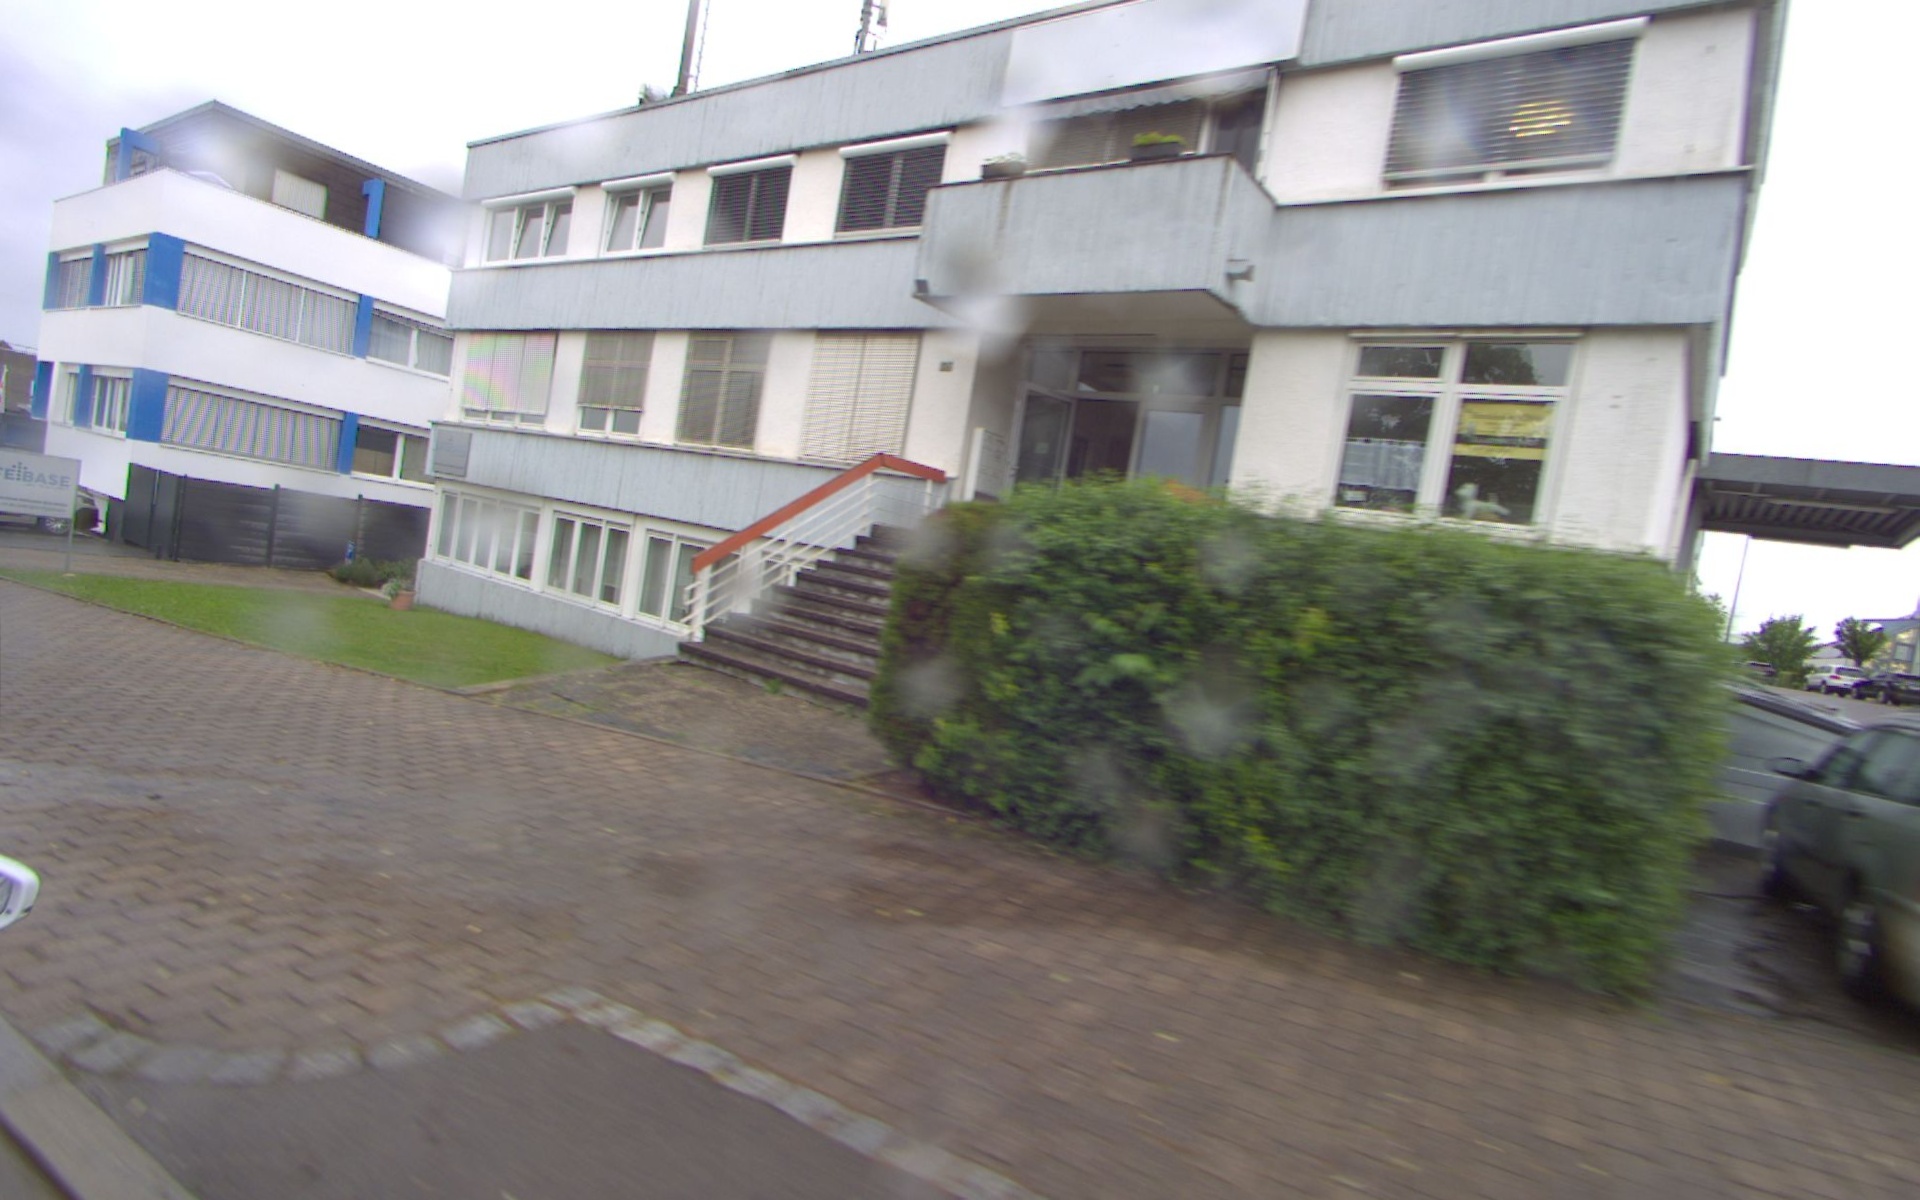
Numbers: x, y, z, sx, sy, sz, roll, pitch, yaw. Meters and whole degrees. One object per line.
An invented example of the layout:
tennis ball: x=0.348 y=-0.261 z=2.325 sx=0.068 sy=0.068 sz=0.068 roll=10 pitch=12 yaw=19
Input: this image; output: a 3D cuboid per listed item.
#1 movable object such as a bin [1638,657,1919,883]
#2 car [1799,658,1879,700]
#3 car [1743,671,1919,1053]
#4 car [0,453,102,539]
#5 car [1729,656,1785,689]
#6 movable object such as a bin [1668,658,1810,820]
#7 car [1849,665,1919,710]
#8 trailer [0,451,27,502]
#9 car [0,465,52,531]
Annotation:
movable object such as a bin: x=7.383 y=1.401 z=9.227 sx=1.706 sy=1.523 sz=2.264 roll=7 pitch=3 yaw=36
car: x=46.721 y=4.154 z=53.577 sx=1.870 sy=1.764 sz=3.994 roll=7 pitch=2 yaw=23
car: x=5.949 y=1.330 z=5.721 sx=1.828 sy=1.604 sz=4.314 roll=6 pitch=0 yaw=33
car: x=-23.139 y=-2.596 z=23.451 sx=2.056 sy=1.796 sz=4.340 roll=7 pitch=1 yaw=35
car: x=53.285 y=4.821 z=67.356 sx=2.157 sy=1.899 sz=3.992 roll=8 pitch=1 yaw=30
movable object such as a bin: x=8.489 y=1.464 z=11.030 sx=1.013 sy=1.516 sz=1.303 roll=7 pitch=3 yaw=36
car: x=44.459 y=4.188 z=47.816 sx=1.896 sy=1.723 sz=3.994 roll=7 pitch=2 yaw=23
trailer: x=-50.193 y=-6.570 z=52.181 sx=4.243 sy=2.448 sz=1.885 roll=9 pitch=2 yaw=38
car: x=-25.815 y=-2.767 z=24.931 sx=2.047 sy=1.559 sz=4.592 roll=7 pitch=2 yaw=36
